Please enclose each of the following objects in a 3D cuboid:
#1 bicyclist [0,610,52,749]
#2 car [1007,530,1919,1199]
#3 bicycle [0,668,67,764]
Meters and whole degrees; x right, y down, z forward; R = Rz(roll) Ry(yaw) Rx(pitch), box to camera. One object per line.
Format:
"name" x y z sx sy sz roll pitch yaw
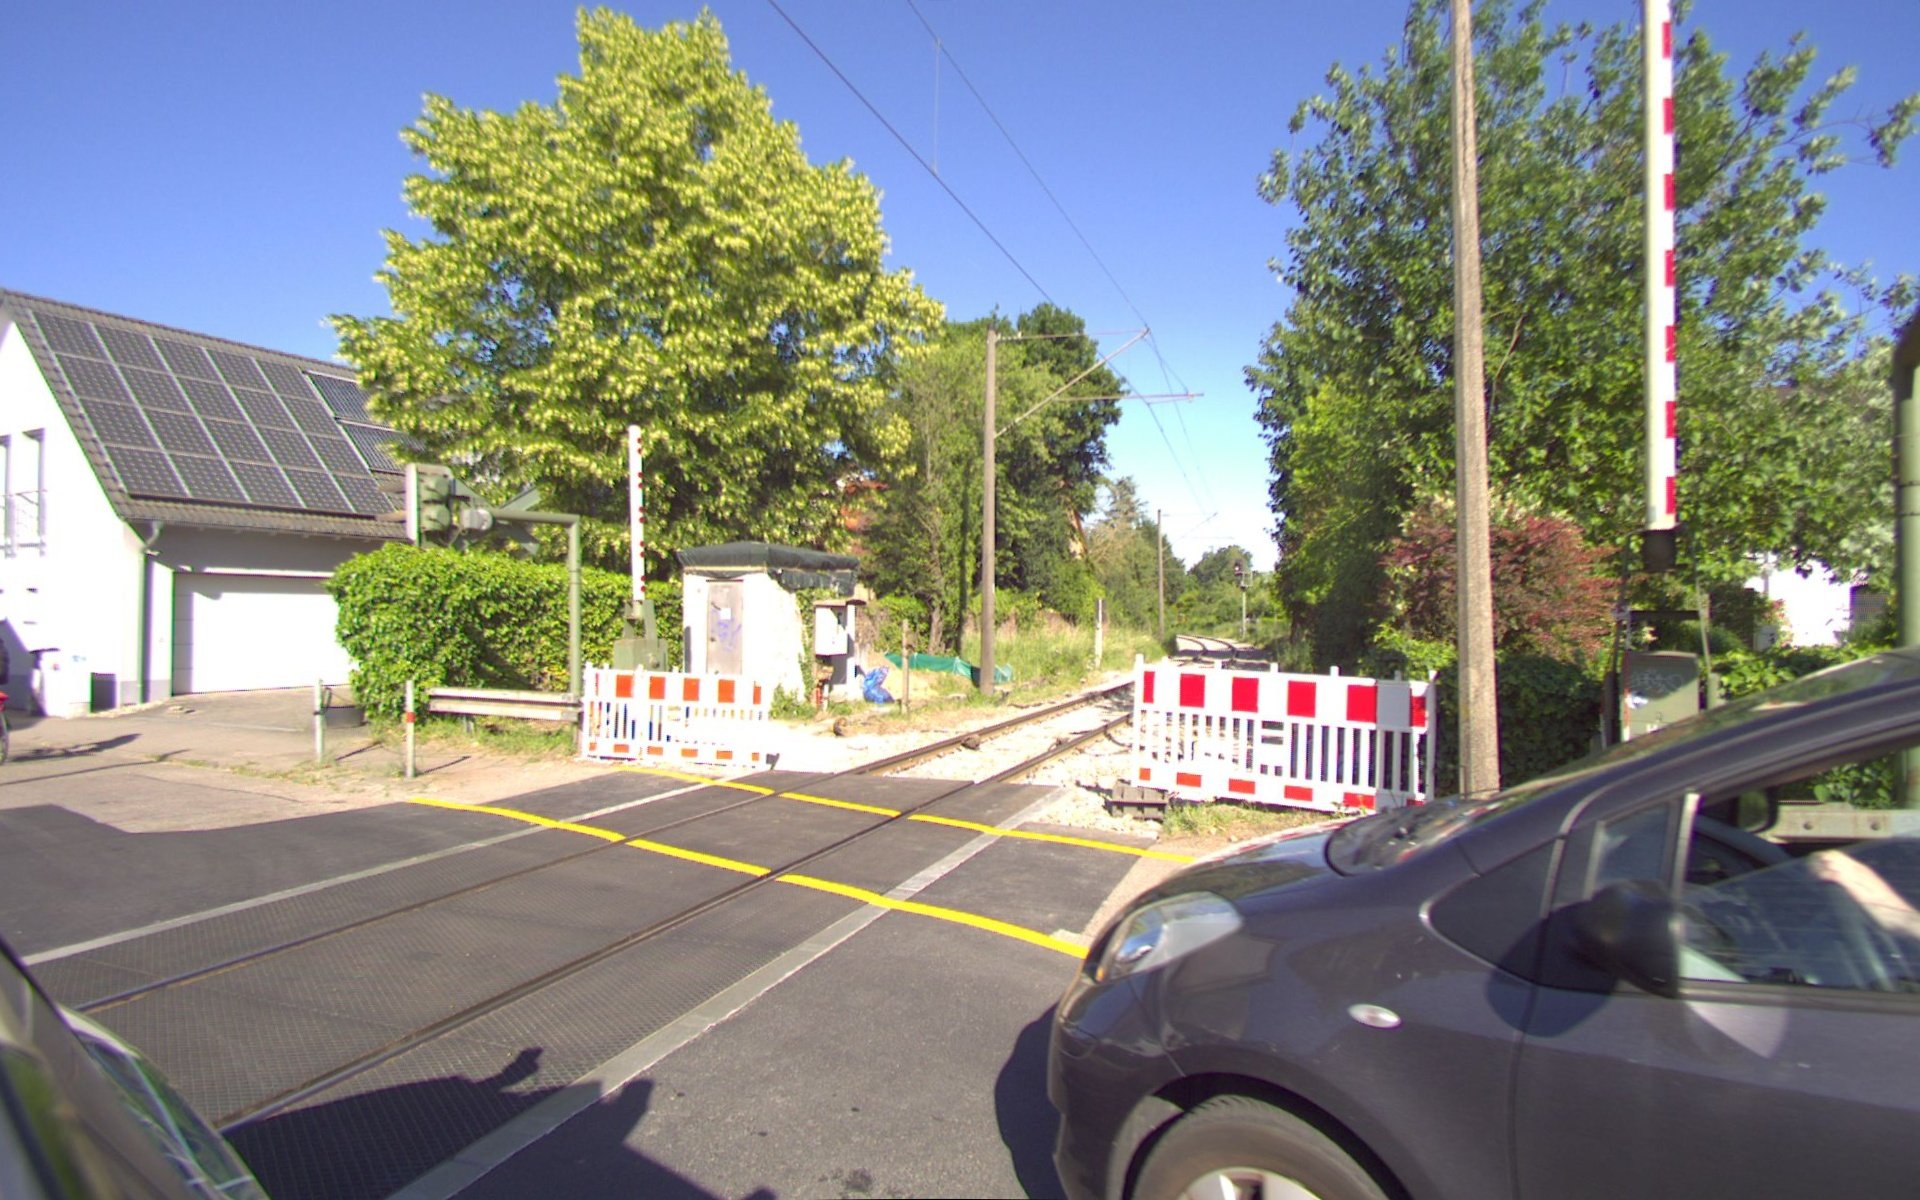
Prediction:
"bicyclist" -11.082 0.884 11.497 0.869 1.553 0.842 0 -2 29
"car" 2.005 0.683 1.476 3.653 1.521 1.668 0 -1 42
"bicycle" -11.214 1.296 11.549 2.054 1.013 0.878 -2 -3 29
